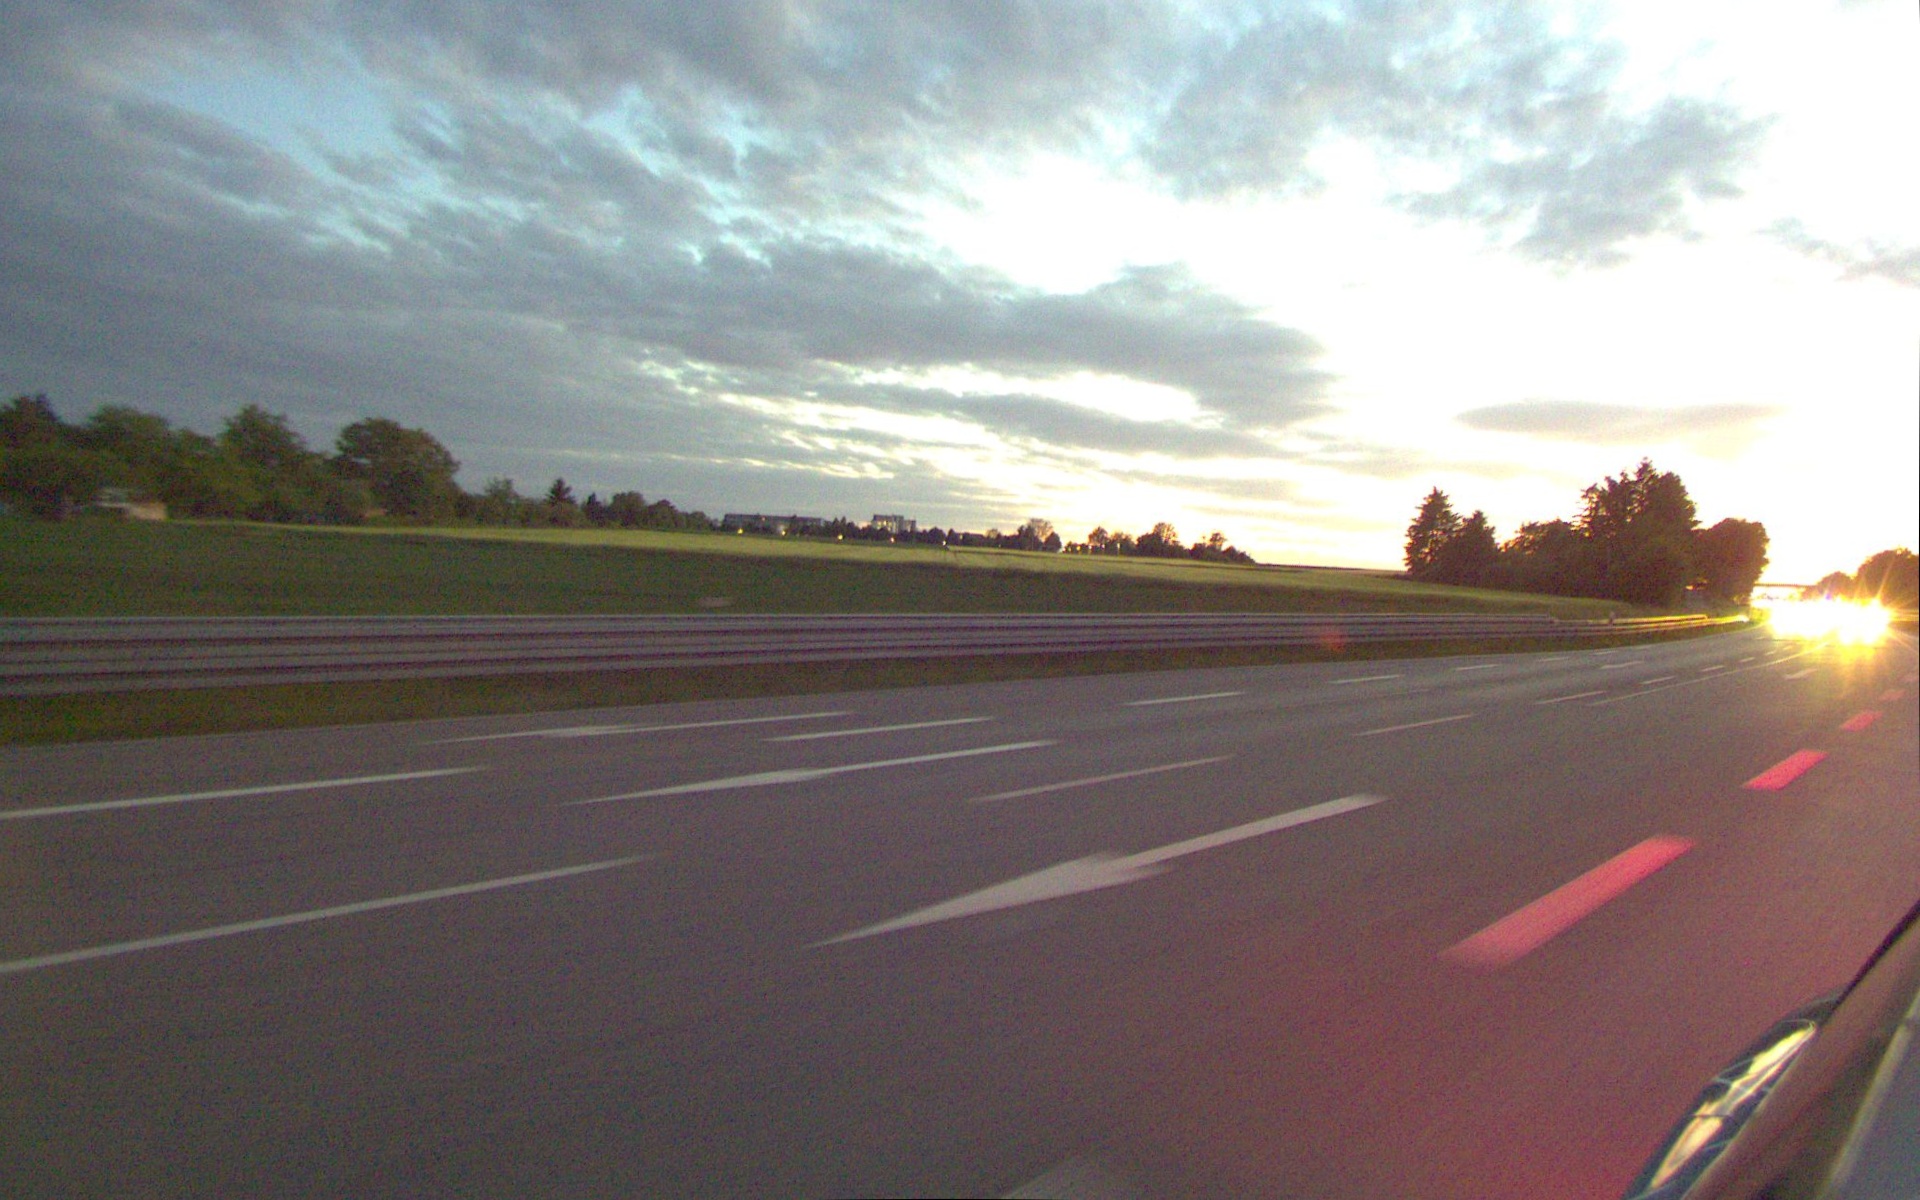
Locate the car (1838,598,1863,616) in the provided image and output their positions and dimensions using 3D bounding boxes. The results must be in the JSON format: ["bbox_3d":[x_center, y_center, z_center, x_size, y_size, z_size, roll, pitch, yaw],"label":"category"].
[{"bbox_3d":[103.514,0.750,117.627,3.934,2.039,1.858,0,0,-44],"label":"car"}]

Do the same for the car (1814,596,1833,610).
[{"bbox_3d":[111.771,0.334,131.017,1.826,1.772,3.793,0,-1,41],"label":"car"}]

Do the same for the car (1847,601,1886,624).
[{"bbox_3d":[59.759,0.790,66.723,1.749,1.474,3.748,0,-1,40],"label":"car"}]

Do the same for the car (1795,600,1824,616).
[{"bbox_3d":[90.561,0.824,107.869,3.934,1.604,1.995,1,0,-44],"label":"car"}]
